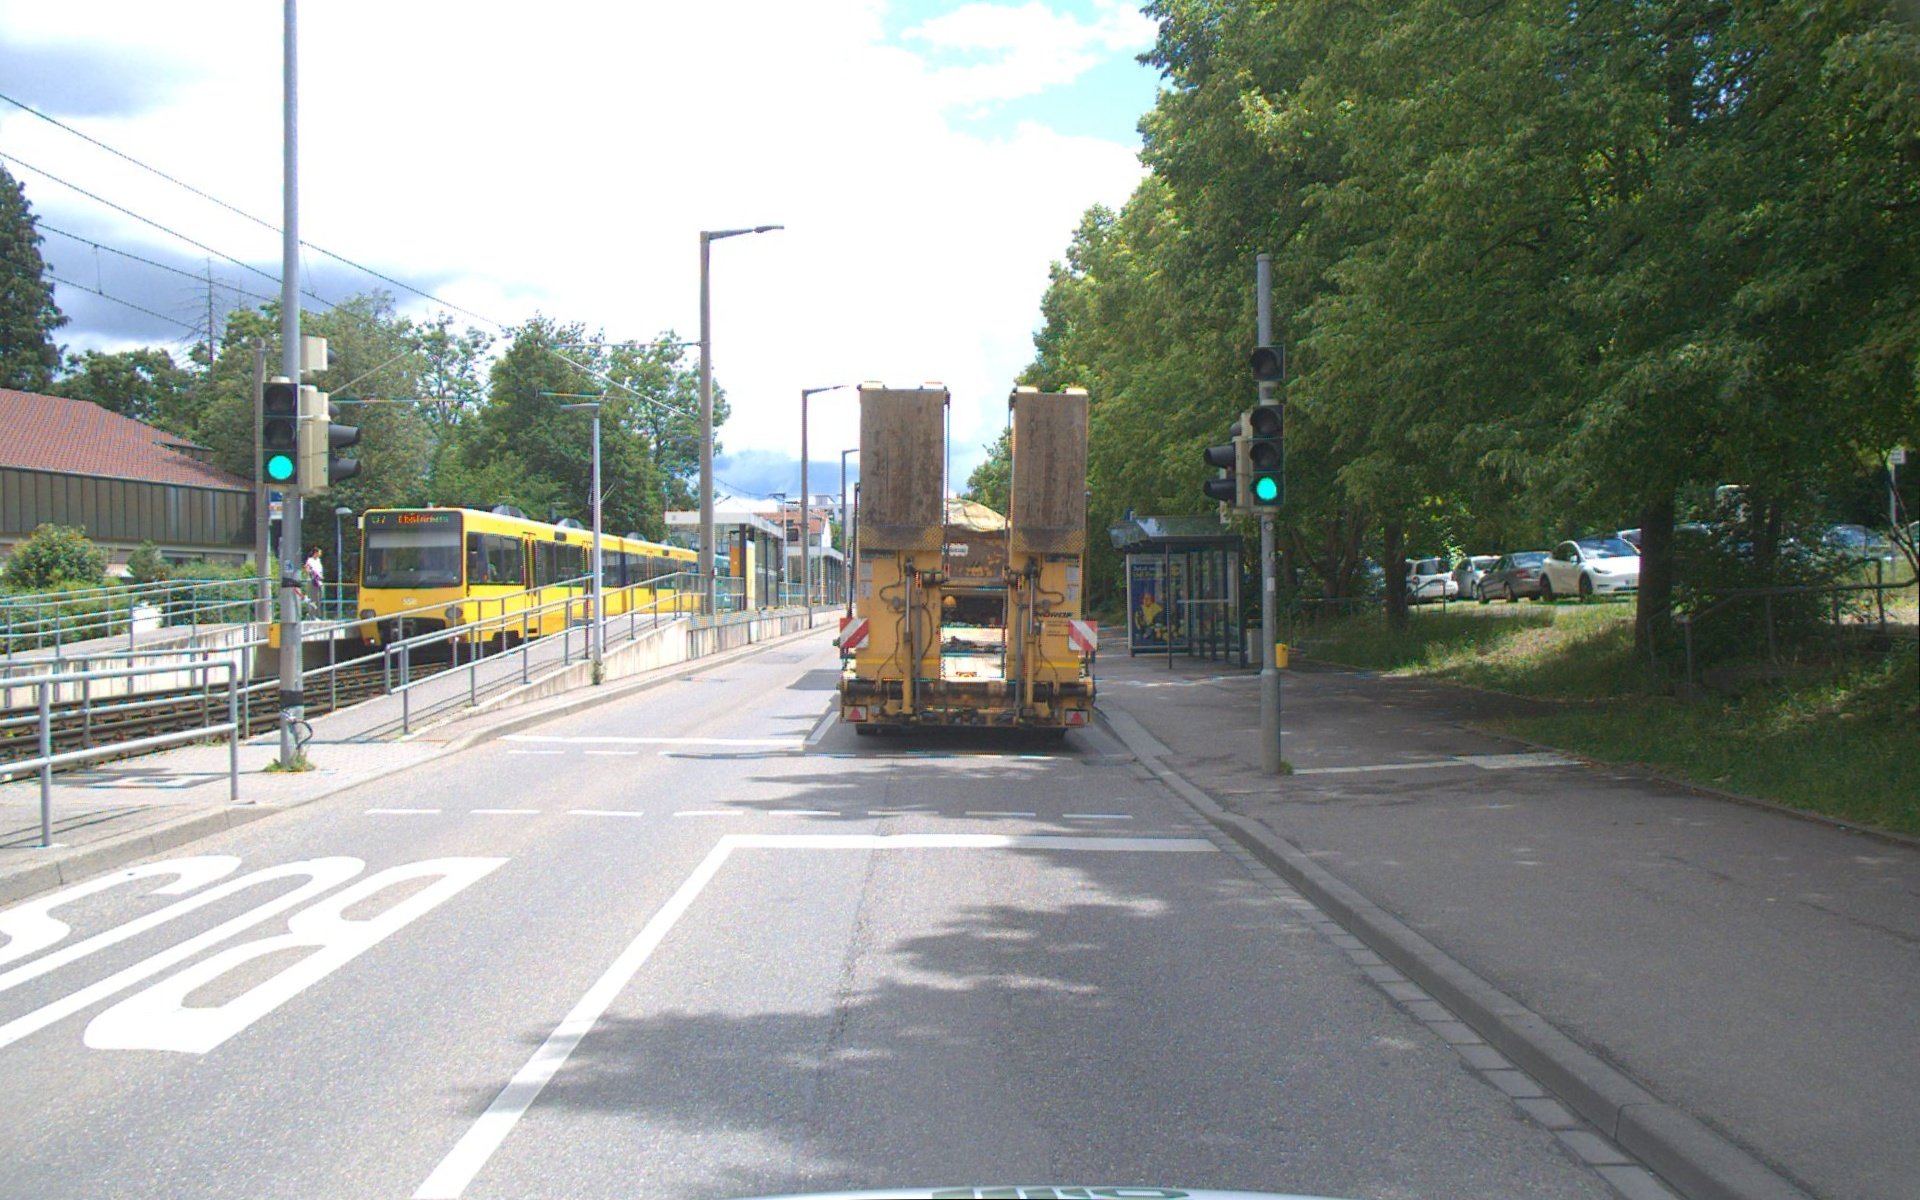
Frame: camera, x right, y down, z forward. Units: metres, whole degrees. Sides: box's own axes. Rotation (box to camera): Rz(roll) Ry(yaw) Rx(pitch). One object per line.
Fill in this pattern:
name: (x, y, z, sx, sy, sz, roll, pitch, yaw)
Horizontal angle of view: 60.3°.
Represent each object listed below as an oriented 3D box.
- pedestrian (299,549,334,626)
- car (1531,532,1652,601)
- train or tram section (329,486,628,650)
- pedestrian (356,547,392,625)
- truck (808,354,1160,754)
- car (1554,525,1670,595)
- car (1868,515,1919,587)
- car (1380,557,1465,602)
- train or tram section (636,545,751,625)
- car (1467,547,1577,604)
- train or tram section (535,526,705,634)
pedestrian: (-15.438, -0.294, 39.690, 0.572, 1.809, 0.576, 1, 0, -1)
car: (16.282, -0.848, 42.861, 1.440, 1.582, 4.432, -4, 1, 1)
train or tram section: (-12.443, -0.688, 45.681, 3.045, 3.525, 18.821, 1, 0, -1)
pedestrian: (-15.659, -0.361, 44.193, 0.698, 2.049, 0.731, 1, 0, -3)
truck: (-0.156, -0.451, 22.638, 3.335, 3.797, 13.729, -1, 0, -3)
car: (19.061, -1.125, 48.523, 1.580, 1.821, 4.207, -4, 0, -1)
car: (19.178, -1.013, 32.101, 1.380, 1.325, 2.858, -4, -2, -2)
car: (16.523, -0.711, 59.256, 1.803, 1.445, 4.123, -3, 0, -1)
train or tram section: (-13.142, -0.666, 83.719, 3.045, 3.525, 19.193, 1, 0, -1)
car: (16.132, -0.664, 47.708, 1.580, 1.467, 4.352, -3, 0, -1)
train or tram section: (-12.785, -0.659, 64.600, 3.045, 3.525, 18.991, 1, 0, -1)
